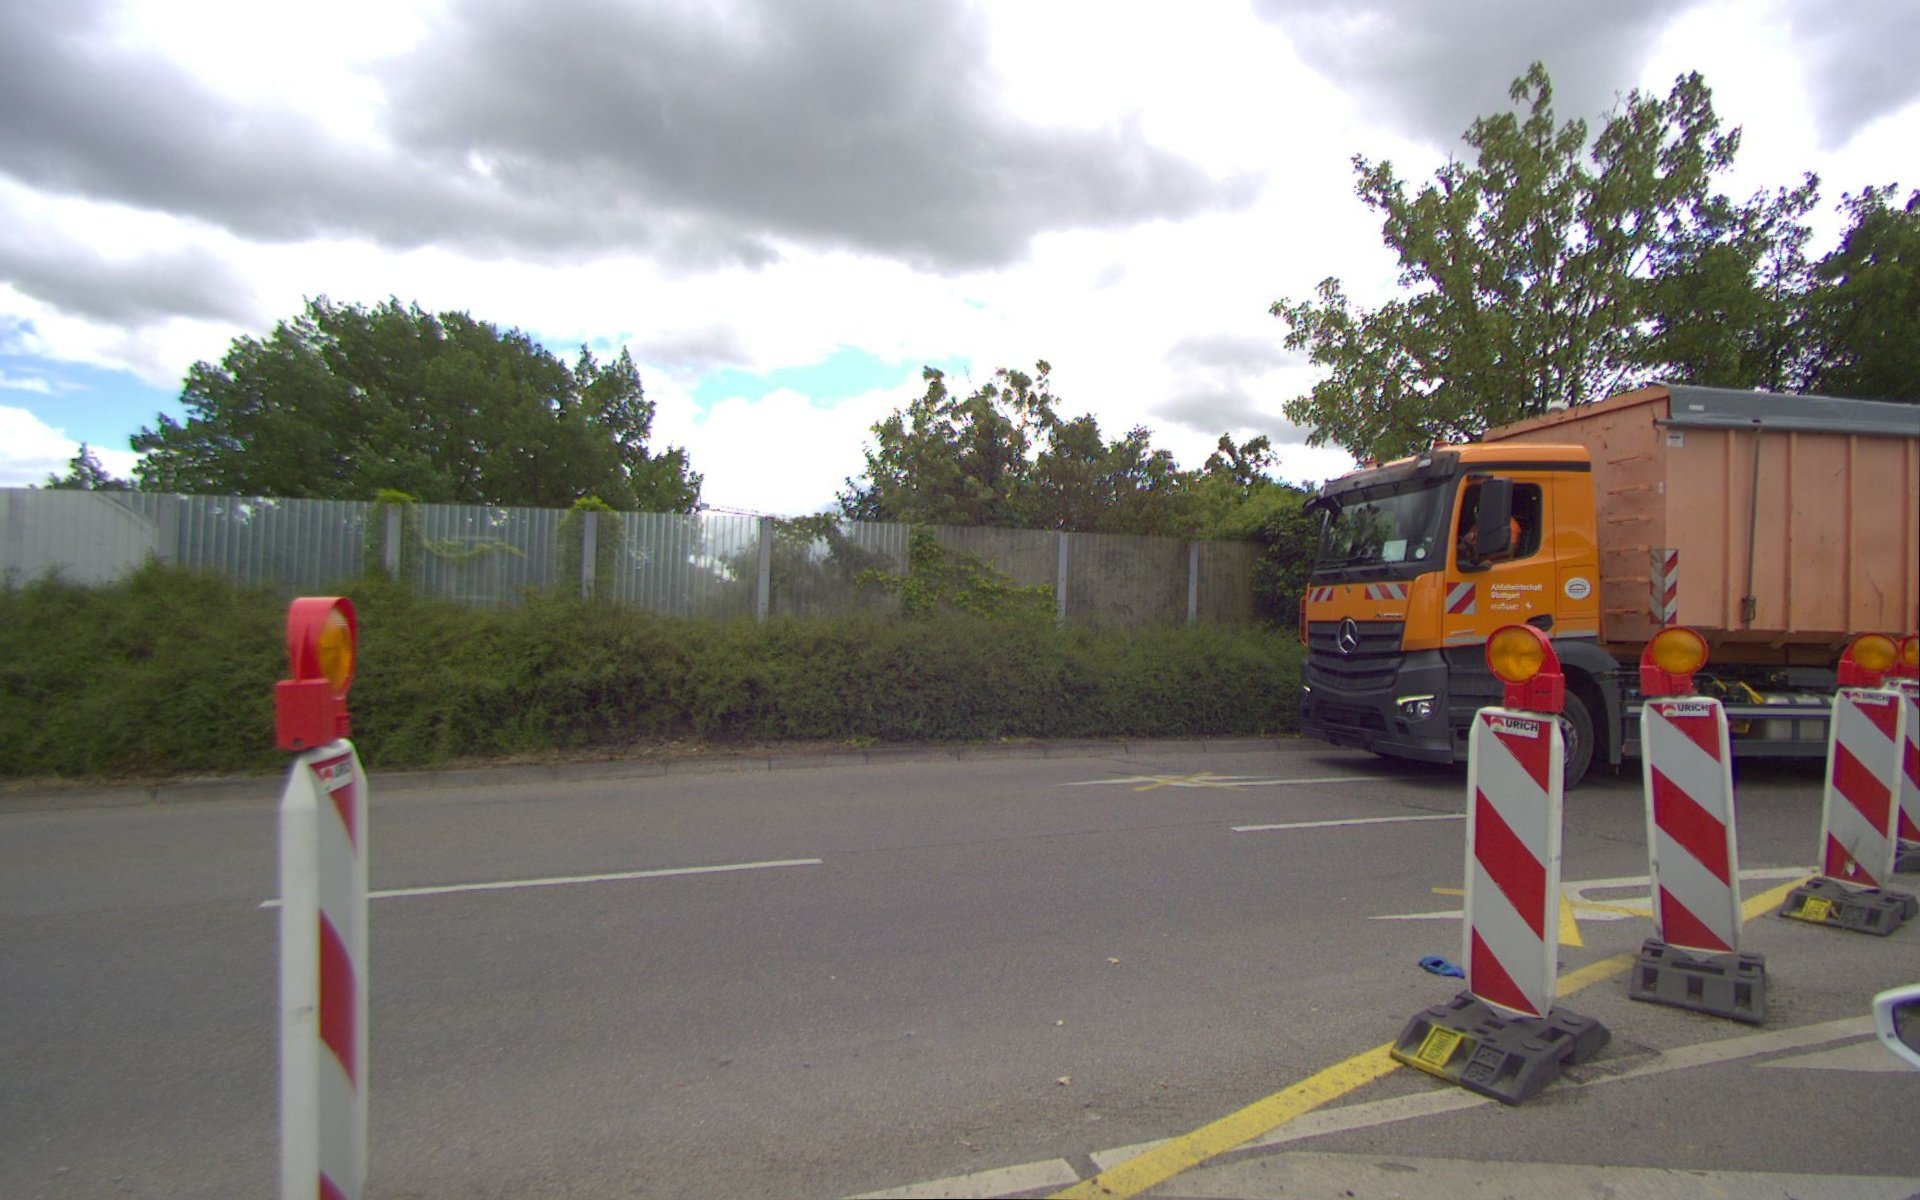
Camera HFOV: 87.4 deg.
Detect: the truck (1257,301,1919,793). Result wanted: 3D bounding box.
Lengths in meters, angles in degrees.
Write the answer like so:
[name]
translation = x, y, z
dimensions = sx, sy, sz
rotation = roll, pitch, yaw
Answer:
[truck]
translation = 8.519, -0.304, 11.293
dimensions = 9.623, 4.276, 3.114
rotation = 2, -2, -12
